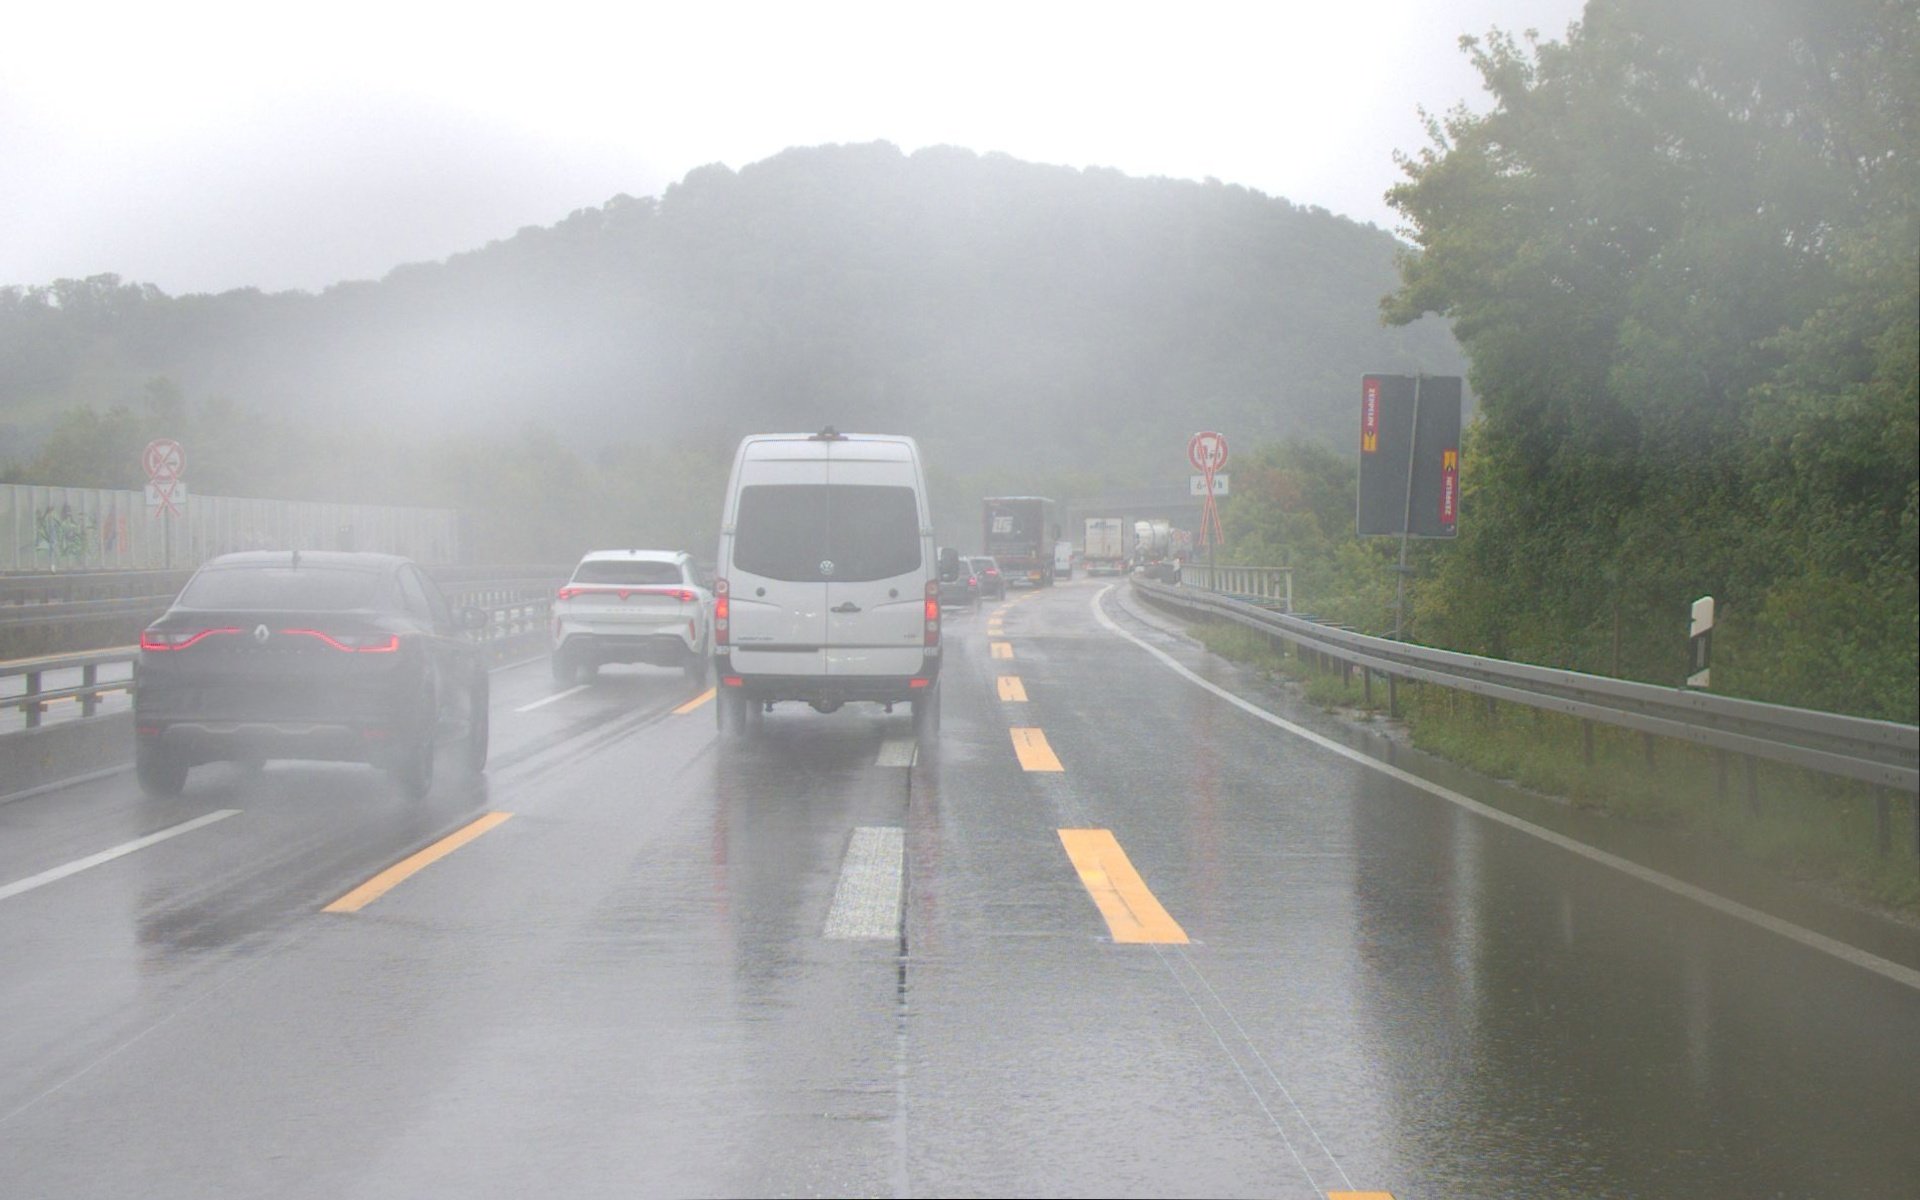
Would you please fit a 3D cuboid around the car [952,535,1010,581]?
[{"bbox_3d":[0.713,-1.381,113.354,1.774,1.470,4.000,0,0,3],"label":"car"}]

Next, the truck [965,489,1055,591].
[{"bbox_3d":[2.293,-2.633,153.348,3.581,4.391,9.623,0,0,3],"label":"truck"}]

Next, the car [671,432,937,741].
[{"bbox_3d":[-1.321,-0.139,31.391,2.145,2.562,5.390,0,0,0],"label":"car"}]

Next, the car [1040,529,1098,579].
[{"bbox_3d":[6.366,-2.658,200.007,2.899,2.877,6.410,0,0,6],"label":"car"}]

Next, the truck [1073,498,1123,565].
[{"bbox_3d":[9.365,-4.571,232.471,3.036,4.391,9.622,0,0,4],"label":"truck"}]

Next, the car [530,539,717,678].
[{"bbox_3d":[-4.096,0.076,42.519,1.993,1.612,4.797,0,1,-2],"label":"car"}]

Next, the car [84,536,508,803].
[{"bbox_3d":[-4.252,0.397,22.733,1.993,1.579,4.414,0,0,-1],"label":"car"}]

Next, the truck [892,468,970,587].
[{"bbox_3d":[-0.744,-1.924,93.747,1.993,3.098,8.499,0,0,0],"label":"truck"}]
